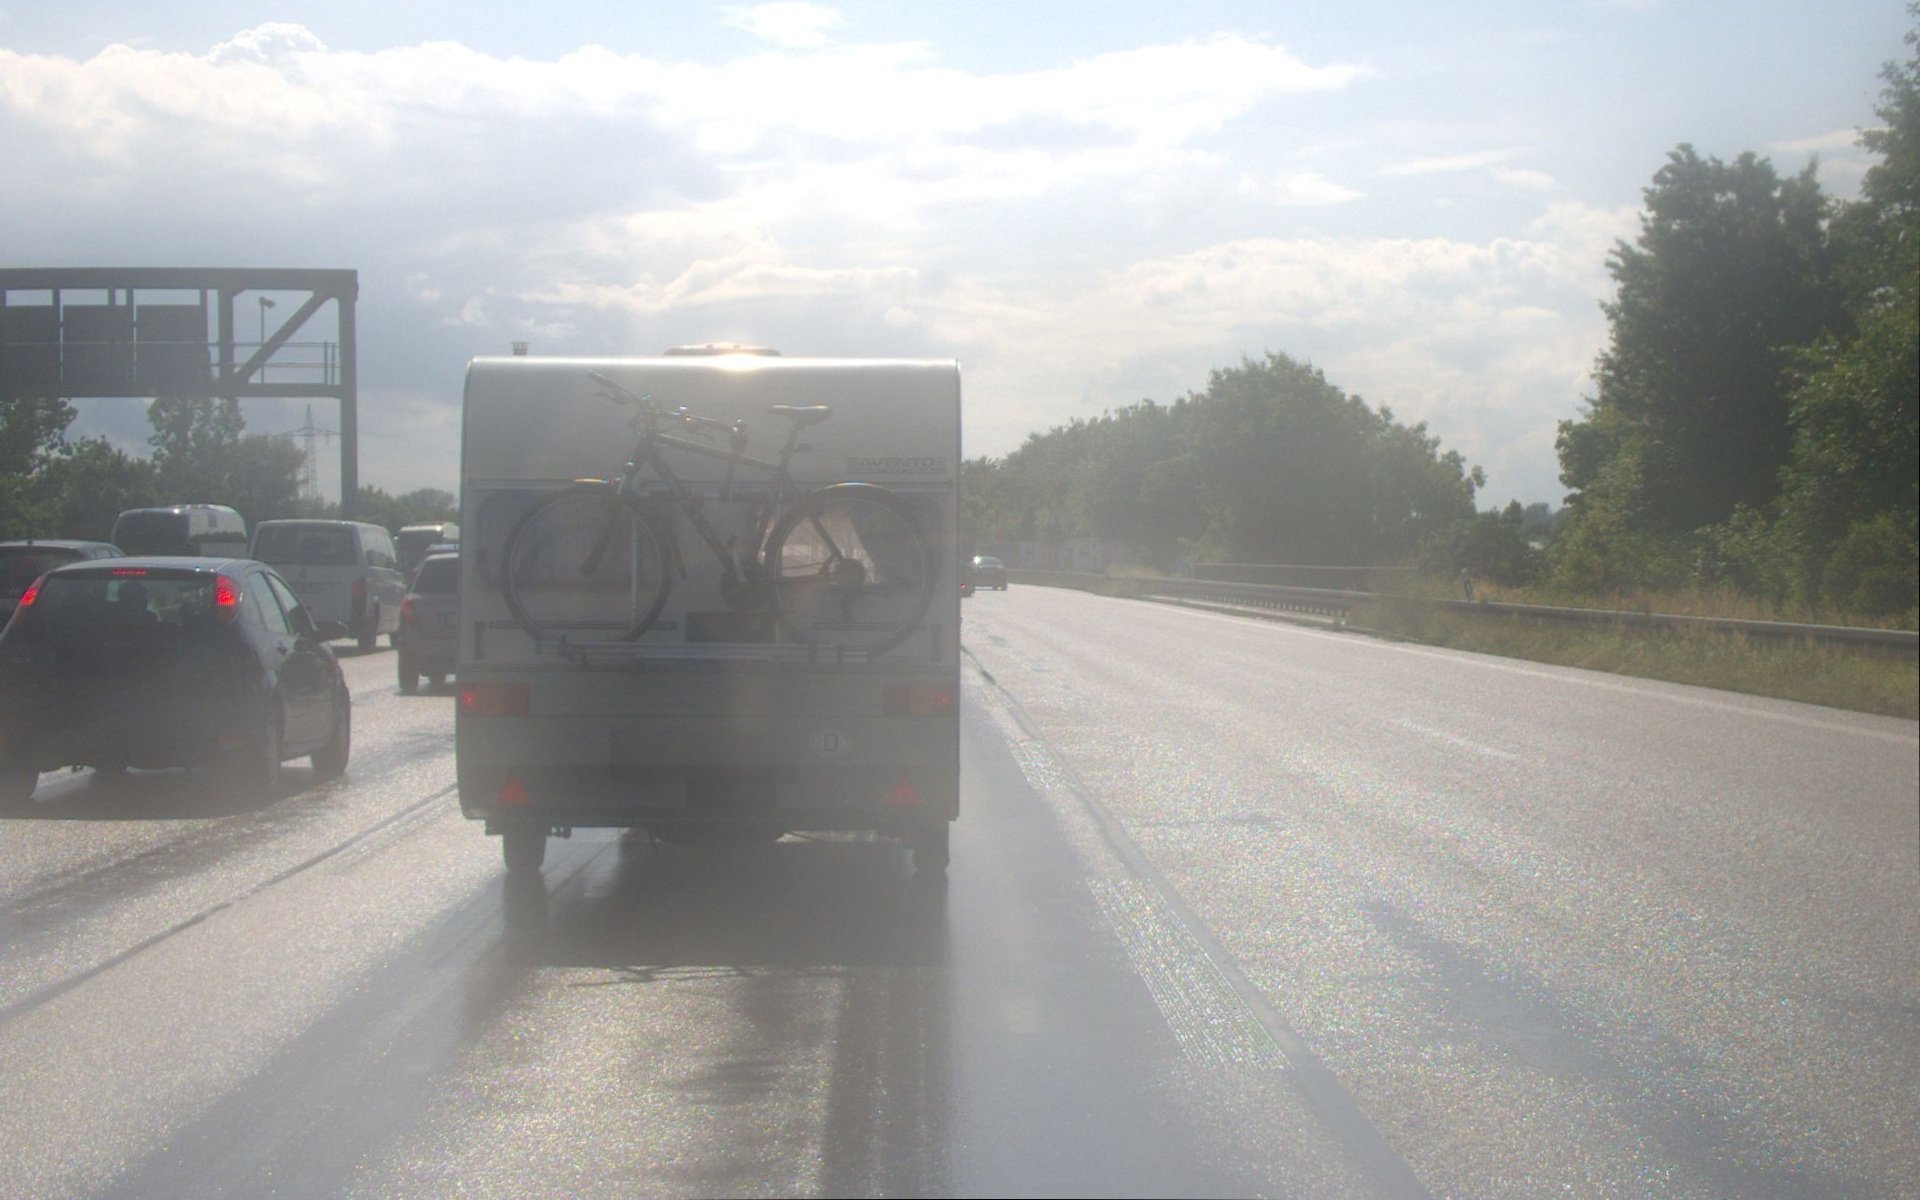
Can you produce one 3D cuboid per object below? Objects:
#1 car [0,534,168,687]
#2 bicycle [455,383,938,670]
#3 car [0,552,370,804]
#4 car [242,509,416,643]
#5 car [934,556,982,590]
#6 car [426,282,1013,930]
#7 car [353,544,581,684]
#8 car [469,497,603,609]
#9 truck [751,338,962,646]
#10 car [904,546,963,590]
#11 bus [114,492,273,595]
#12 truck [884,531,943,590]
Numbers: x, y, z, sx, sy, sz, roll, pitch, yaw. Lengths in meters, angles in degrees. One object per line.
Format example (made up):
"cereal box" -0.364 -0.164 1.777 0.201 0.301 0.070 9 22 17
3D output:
"car" -9.869 0.072 37.289 1.783 1.573 3.916 0 1 -2
"bicycle" -1.068 -0.301 14.105 1.934 1.137 0.384 1 0 1
"car" -4.982 0.424 21.928 1.758 1.438 4.000 0 1 0
"car" -9.509 -0.391 52.182 1.848 1.927 5.017 0 1 -2
"car" -0.104 -1.235 156.286 1.876 1.489 4.001 1 1 -5
"car" -1.010 0.006 16.305 2.410 2.665 4.000 1 1 0
"car" -5.383 0.120 37.989 1.987 1.453 3.827 0 1 0
"car" -6.489 -0.719 52.865 1.689 1.656 3.641 0 1 -1
"truck" -1.744 -1.699 56.991 3.146 4.610 10.737 0 1 -2
"car" -0.984 -1.173 126.292 1.835 1.552 4.001 1 1 -5
"bus" -26.541 -1.949 119.656 2.891 3.362 12.471 0 1 -1
"truck" -1.959 -1.708 146.162 2.415 2.435 6.053 0 1 0
